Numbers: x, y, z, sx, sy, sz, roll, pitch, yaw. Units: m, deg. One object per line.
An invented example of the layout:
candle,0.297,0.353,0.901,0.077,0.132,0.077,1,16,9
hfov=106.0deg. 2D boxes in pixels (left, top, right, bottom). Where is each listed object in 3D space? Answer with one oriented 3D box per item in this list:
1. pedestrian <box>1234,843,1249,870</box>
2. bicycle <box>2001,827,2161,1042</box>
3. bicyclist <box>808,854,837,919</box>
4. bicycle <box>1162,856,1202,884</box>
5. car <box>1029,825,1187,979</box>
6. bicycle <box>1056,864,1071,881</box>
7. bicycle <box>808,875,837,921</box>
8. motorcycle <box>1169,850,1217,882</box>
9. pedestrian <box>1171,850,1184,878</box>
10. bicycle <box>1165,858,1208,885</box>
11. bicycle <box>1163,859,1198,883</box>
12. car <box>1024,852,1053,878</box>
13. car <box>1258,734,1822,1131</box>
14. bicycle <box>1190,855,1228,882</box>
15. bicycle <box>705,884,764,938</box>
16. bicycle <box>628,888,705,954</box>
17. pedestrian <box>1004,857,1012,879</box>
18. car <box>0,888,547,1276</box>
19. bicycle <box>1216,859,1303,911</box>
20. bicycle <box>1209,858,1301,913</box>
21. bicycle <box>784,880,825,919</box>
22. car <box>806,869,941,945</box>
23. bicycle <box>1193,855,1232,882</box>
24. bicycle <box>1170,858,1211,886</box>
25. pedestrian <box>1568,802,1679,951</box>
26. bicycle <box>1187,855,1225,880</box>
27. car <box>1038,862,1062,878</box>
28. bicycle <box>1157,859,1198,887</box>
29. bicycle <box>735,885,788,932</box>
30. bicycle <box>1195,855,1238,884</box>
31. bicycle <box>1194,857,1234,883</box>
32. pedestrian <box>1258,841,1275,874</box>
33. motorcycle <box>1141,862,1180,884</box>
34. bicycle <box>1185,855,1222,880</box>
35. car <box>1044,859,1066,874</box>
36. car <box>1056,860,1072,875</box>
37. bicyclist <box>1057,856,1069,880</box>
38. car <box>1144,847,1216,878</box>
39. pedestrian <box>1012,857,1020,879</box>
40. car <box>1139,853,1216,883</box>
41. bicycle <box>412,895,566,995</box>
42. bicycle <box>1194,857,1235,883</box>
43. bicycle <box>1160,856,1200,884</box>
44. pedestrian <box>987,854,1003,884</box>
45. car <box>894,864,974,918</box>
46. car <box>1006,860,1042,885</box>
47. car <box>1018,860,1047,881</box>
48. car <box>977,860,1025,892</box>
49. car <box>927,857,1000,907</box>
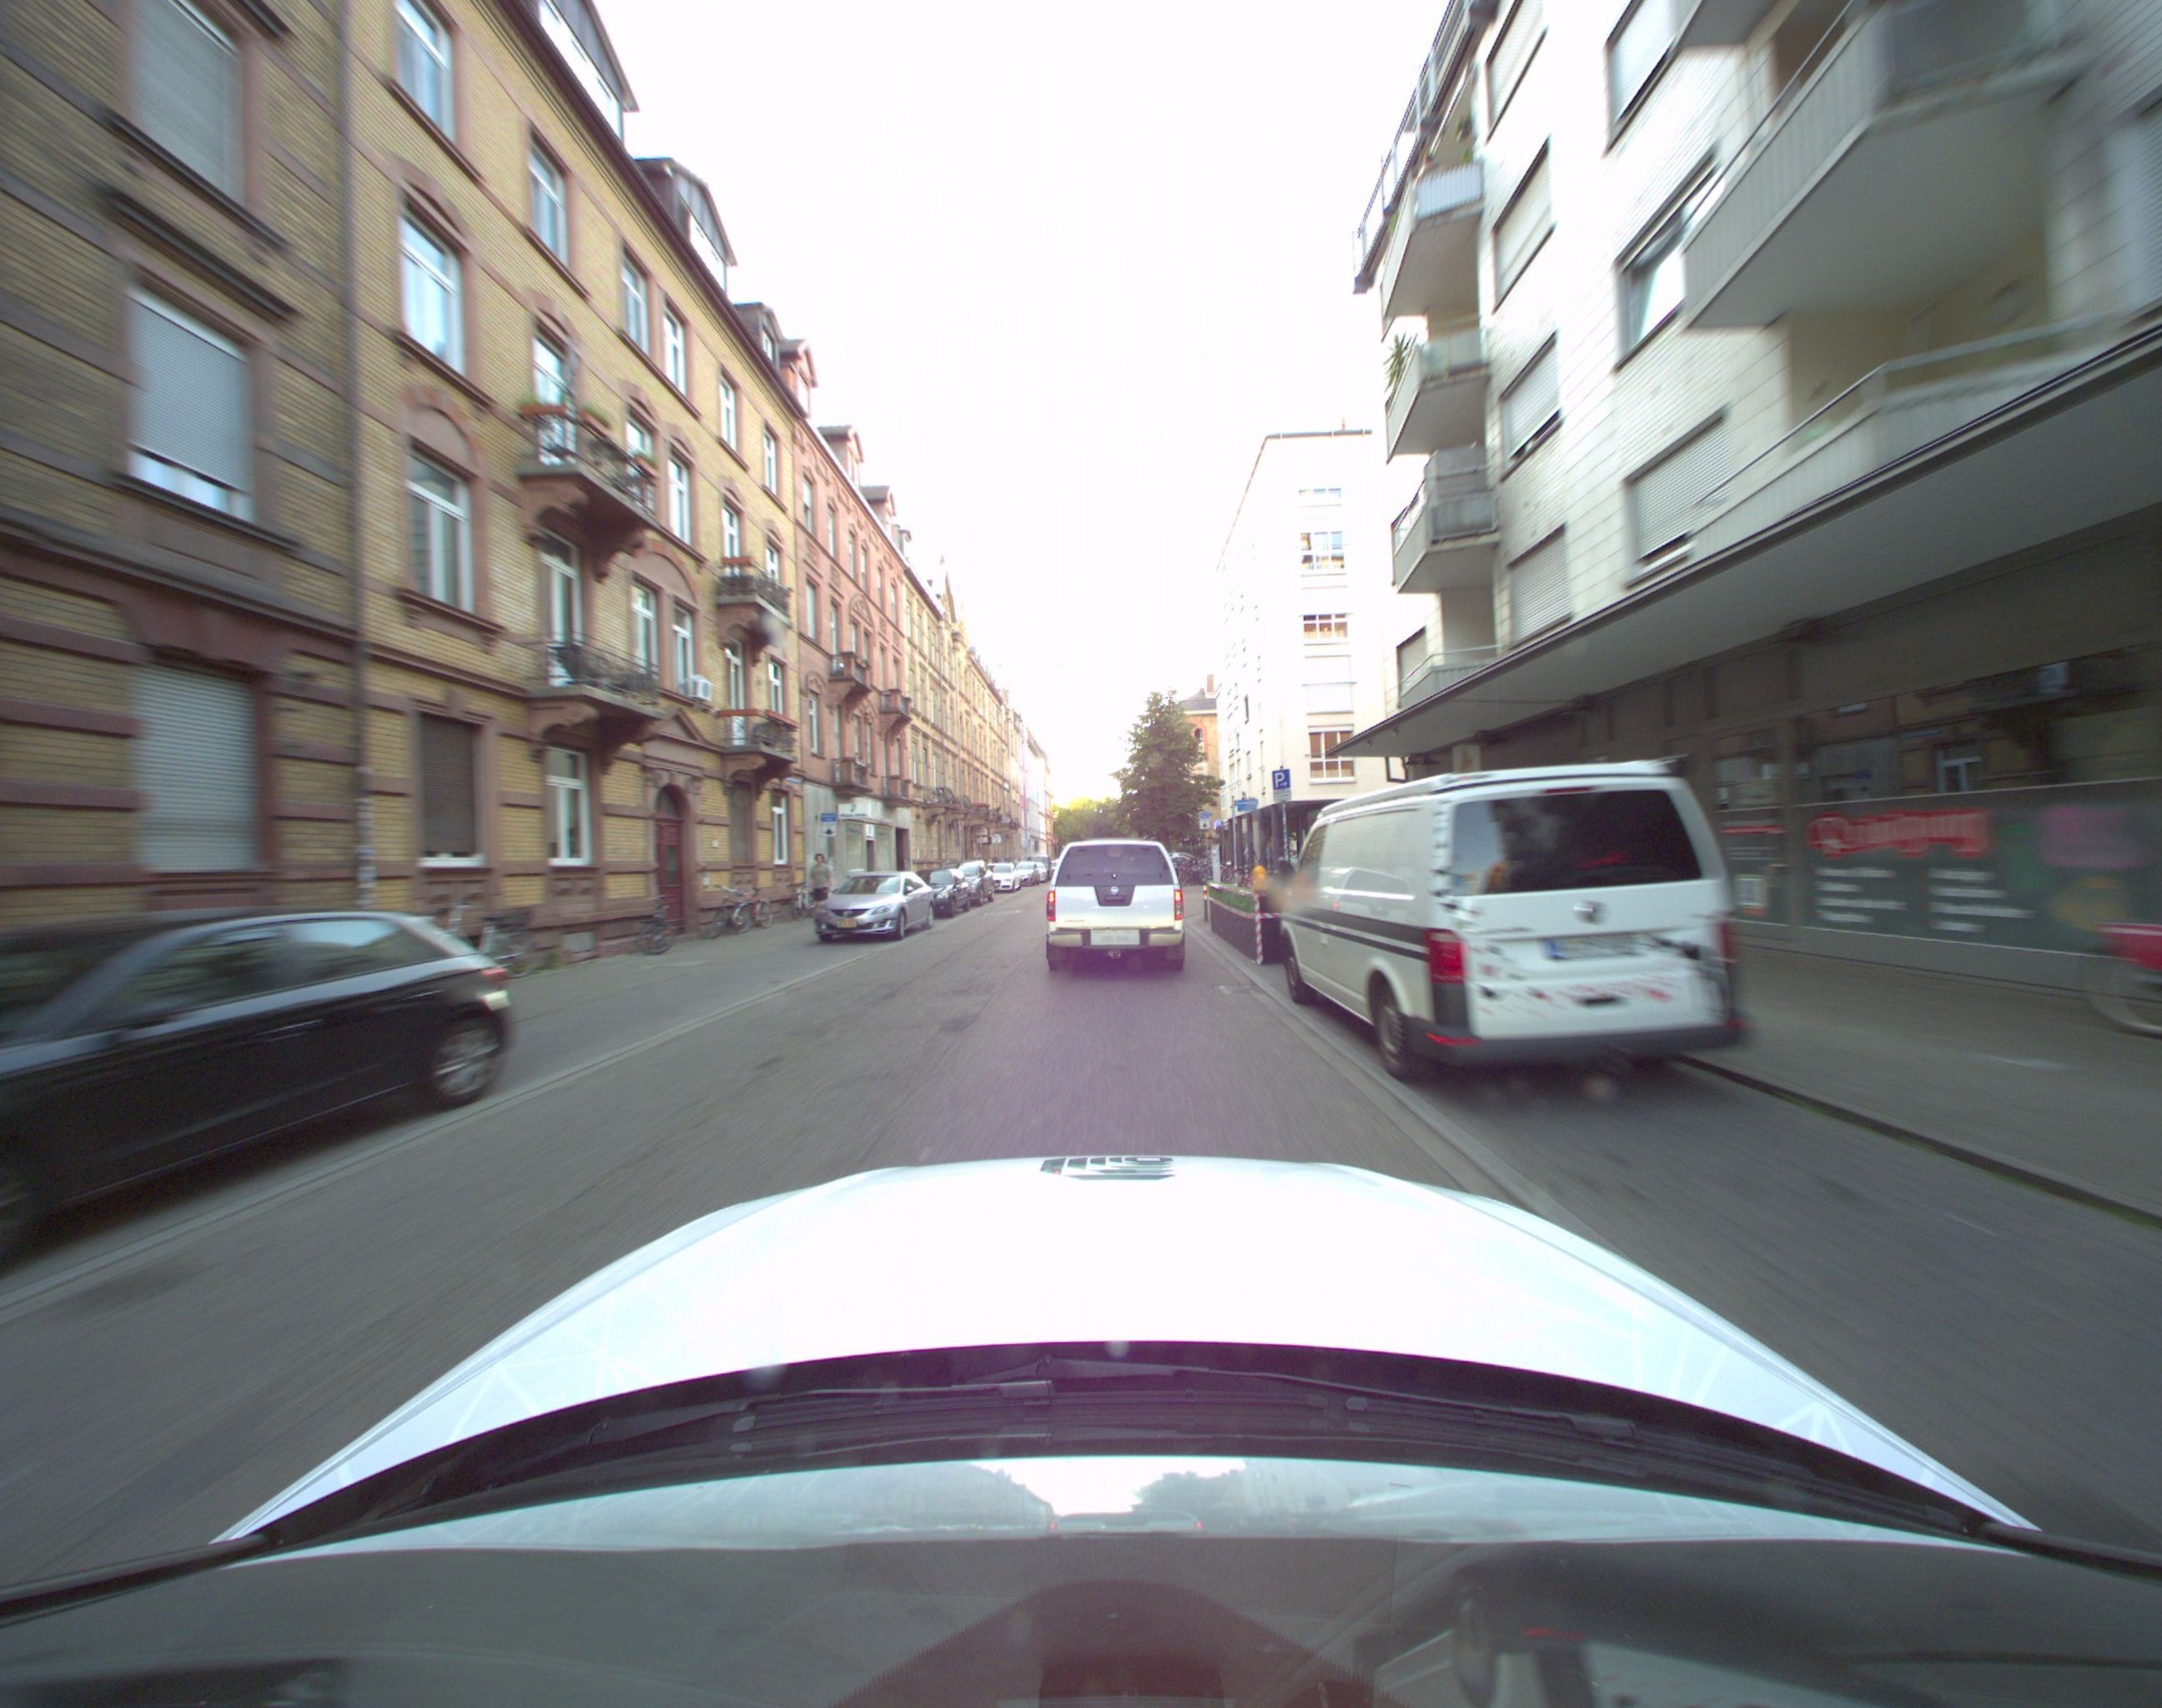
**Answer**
pedestrian,10.494,0.155,53.312,0.724,1.716,0.964,-4,-1,2
bicycle,6.662,0.442,4.569,0.911,1.195,1.704,-4,-1,-12
bicyclist,-7.115,0.898,22.405,0.710,1.730,0.838,-1,-2,-18
bicycle,5.002,0.783,40.129,1.776,1.182,0.736,-6,-2,12
car,0.596,0.624,12.499,1.901,1.853,5.279,-1,-1,6
bicycle,-1.233,1.271,57.335,0.641,1.081,2.173,-4,0,8
bicycle,-7.102,1.194,22.368,0.710,1.196,1.731,-1,-2,-18
motorcycle,6.182,0.646,45.097,2.480,1.549,0.825,-5,-2,4
pedestrian,6.098,0.616,51.345,0.625,1.753,0.586,-1,-2,-10
bicycle,4.909,0.821,37.966,1.803,1.118,0.707,-4,-1,0
bicycle,5.166,0.882,42.337,1.712,1.031,0.668,-6,-2,4
car,-3.276,0.861,63.348,1.987,1.924,4.949,0,0,-1
car,2.969,0.419,6.827,1.951,1.973,5.005,-4,0,2
bicycle,6.166,0.697,39.289,1.714,1.118,0.654,-4,-1,5
bicycle,-7.998,1.301,18.877,0.547,1.123,1.761,0,0,2
bicycle,-7.946,1.258,15.686,0.737,1.123,1.608,-1,0,-5
pedestrian,-5.854,1.105,65.611,0.578,1.772,0.997,0,0,-2
car,-5.072,0.989,4.321,1.685,1.420,3.859,-1,0,5
bicycle,4.355,0.765,19.951,1.920,1.134,0.661,-5,-1,39
bicycle,4.043,0.749,19.016,1.920,1.134,0.661,-5,-1,39
bicycle,-8.022,1.308,23.692,0.447,1.022,1.849,1,0,2
car,-4.505,1.093,18.391,1.716,1.420,4.583,-1,-1,2
bicycle,6.251,0.687,38.717,1.714,1.118,0.654,-4,-1,5
bicycle,4.862,0.786,36.316,1.714,1.118,0.708,-4,-1,4
pedestrian,6.435,0.264,9.706,0.706,1.665,0.745,-4,-2,1
bicycle,6.193,0.685,40.372,1.718,1.118,0.653,-4,-1,-2
car,-2.712,1.414,72.292,1.730,1.418,4.779,-1,-1,1
bicycle,4.395,0.866,37.187,1.717,1.118,0.707,-4,-1,0
bicycle,-7.937,1.341,20.278,0.547,1.037,1.761,0,0,2
bicycle,5.976,0.677,35.866,1.723,1.131,0.577,-4,-1,-11
bicycle,6.110,0.730,37.561,1.714,1.054,0.654,-4,-1,5
pedestrian,10.054,0.208,44.046,0.656,1.723,0.667,-3,1,29
motorcycle,4.494,1.069,46.035,2.060,1.078,0.660,-4,-1,-14
bicycle,6.165,0.684,41.094,1.718,1.118,0.653,-4,-1,-2
car,-2.575,1.254,81.112,1.827,1.458,4.208,0,-1,2
car,-2.027,1.570,97.263,1.839,1.659,4.250,-3,-1,-1
bicyclist,-1.256,0.976,57.344,0.641,1.621,0.920,-4,-1,8
car,6.400,0.553,52.871,4.383,1.647,1.747,-4,-1,1
pedestrian,-5.221,1.100,65.827,0.604,1.772,0.776,0,0,-2
car,5.902,0.833,50.113,4.415,1.455,1.777,-4,-1,-5
bicycle,-8.224,1.219,11.436,0.524,1.171,2.050,0,0,5
bicycle,6.050,0.722,36.890,1.714,1.054,0.654,-4,-1,5
bicycle,4.965,0.806,40.973,1.859,1.182,0.744,-6,-2,6
pedestrian,-5.074,0.909,48.304,0.550,1.755,1.027,-2,-2,16
car,-4.374,1.052,24.724,1.578,1.420,3.699,-2,0,3
car,-3.482,1.092,50.133,1.710,1.457,4.003,-1,0,3
car,-3.393,1.172,57.915,1.778,1.423,4.485,0,0,0
car,-3.924,1.056,40.452,1.751,1.412,4.510,-1,0,2
car,-4.249,0.970,30.118,1.846,1.633,4.448,-1,0,2
